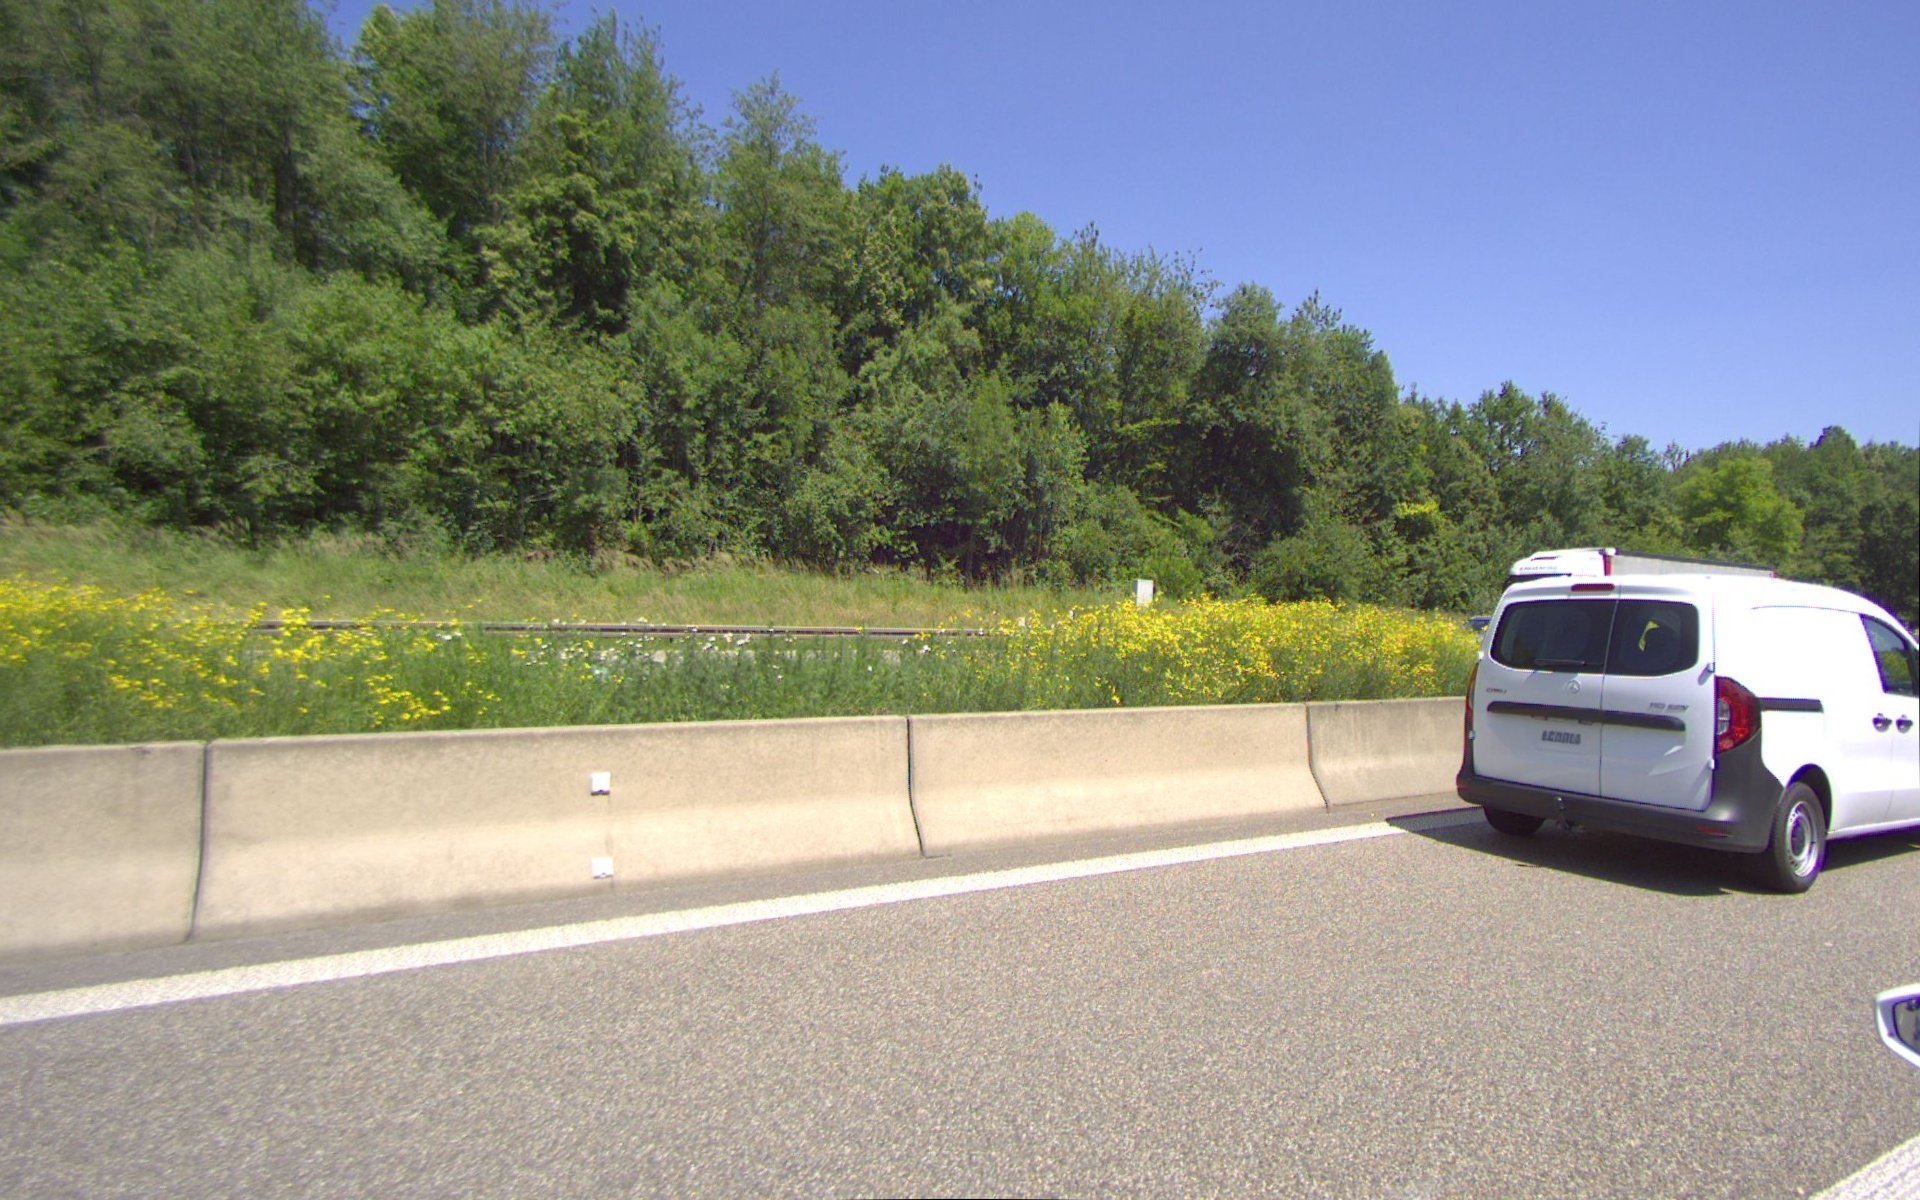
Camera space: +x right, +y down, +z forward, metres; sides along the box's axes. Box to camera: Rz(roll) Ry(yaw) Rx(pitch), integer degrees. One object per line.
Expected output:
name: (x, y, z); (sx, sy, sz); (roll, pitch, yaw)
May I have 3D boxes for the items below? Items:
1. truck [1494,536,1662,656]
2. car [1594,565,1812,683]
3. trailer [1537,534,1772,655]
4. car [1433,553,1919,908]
truck: (23.684, -0.052, 38.455); (6.018, 4.161, 2.949); (3, -1, -31)
car: (20.552, 0.677, 27.648); (7.373, 2.934, 2.059); (2, -1, -30)
trailer: (29.095, -0.019, 41.736); (12.915, 4.287, 2.911); (3, -1, -31)
car: (5.608, 0.741, 7.132); (4.619, 1.837, 1.757); (2, -1, -30)
